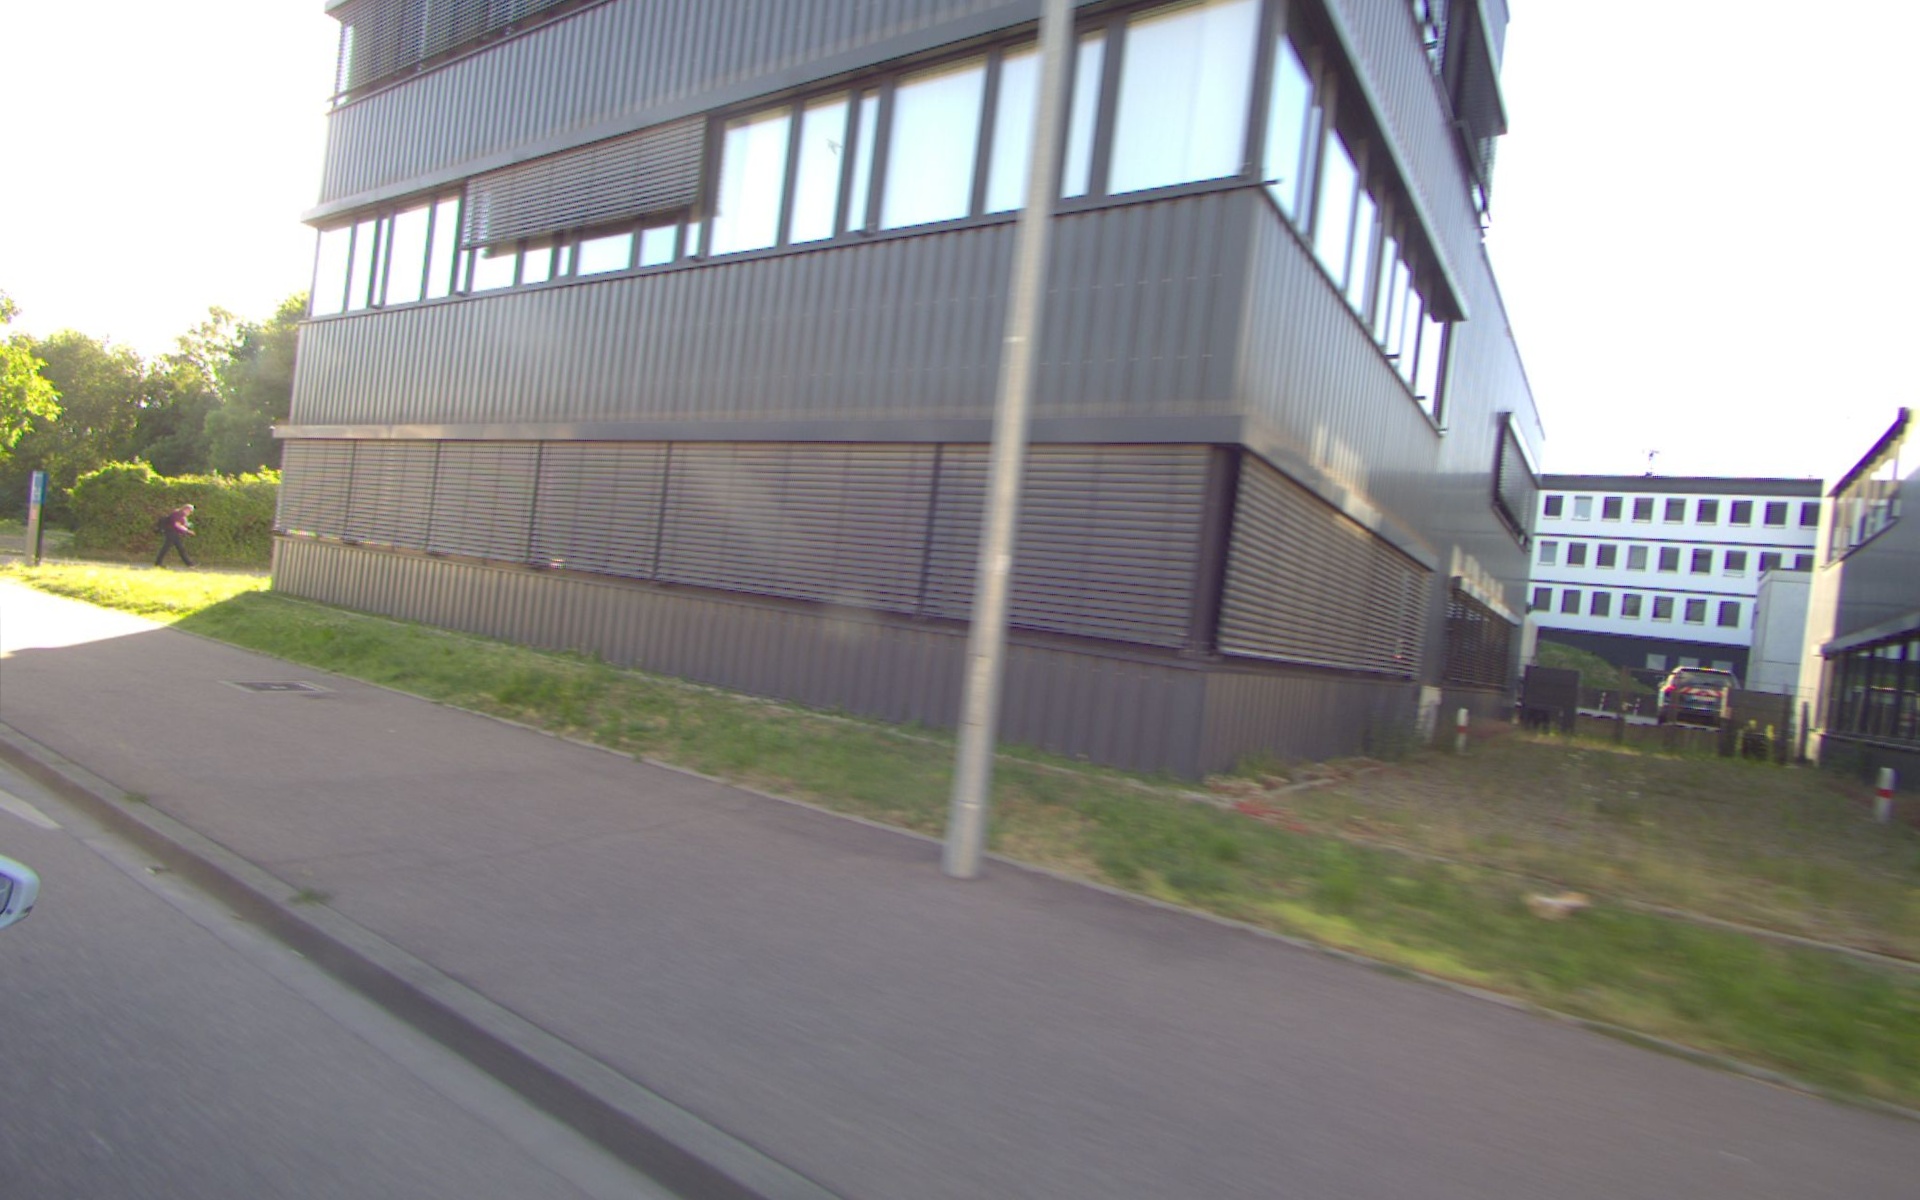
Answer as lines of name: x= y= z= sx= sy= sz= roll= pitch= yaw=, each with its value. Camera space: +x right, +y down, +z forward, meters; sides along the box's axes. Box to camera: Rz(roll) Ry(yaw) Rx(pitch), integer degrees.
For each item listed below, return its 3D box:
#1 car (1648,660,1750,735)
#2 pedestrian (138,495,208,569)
car: x=19.797 y=2.595 z=27.104 sx=1.798 sy=1.646 sz=3.991 roll=7 pitch=-1 yaw=33
pedestrian: x=-20.889 y=-1.794 z=26.719 sx=0.881 sy=1.816 sz=1.152 roll=7 pitch=3 yaw=30
